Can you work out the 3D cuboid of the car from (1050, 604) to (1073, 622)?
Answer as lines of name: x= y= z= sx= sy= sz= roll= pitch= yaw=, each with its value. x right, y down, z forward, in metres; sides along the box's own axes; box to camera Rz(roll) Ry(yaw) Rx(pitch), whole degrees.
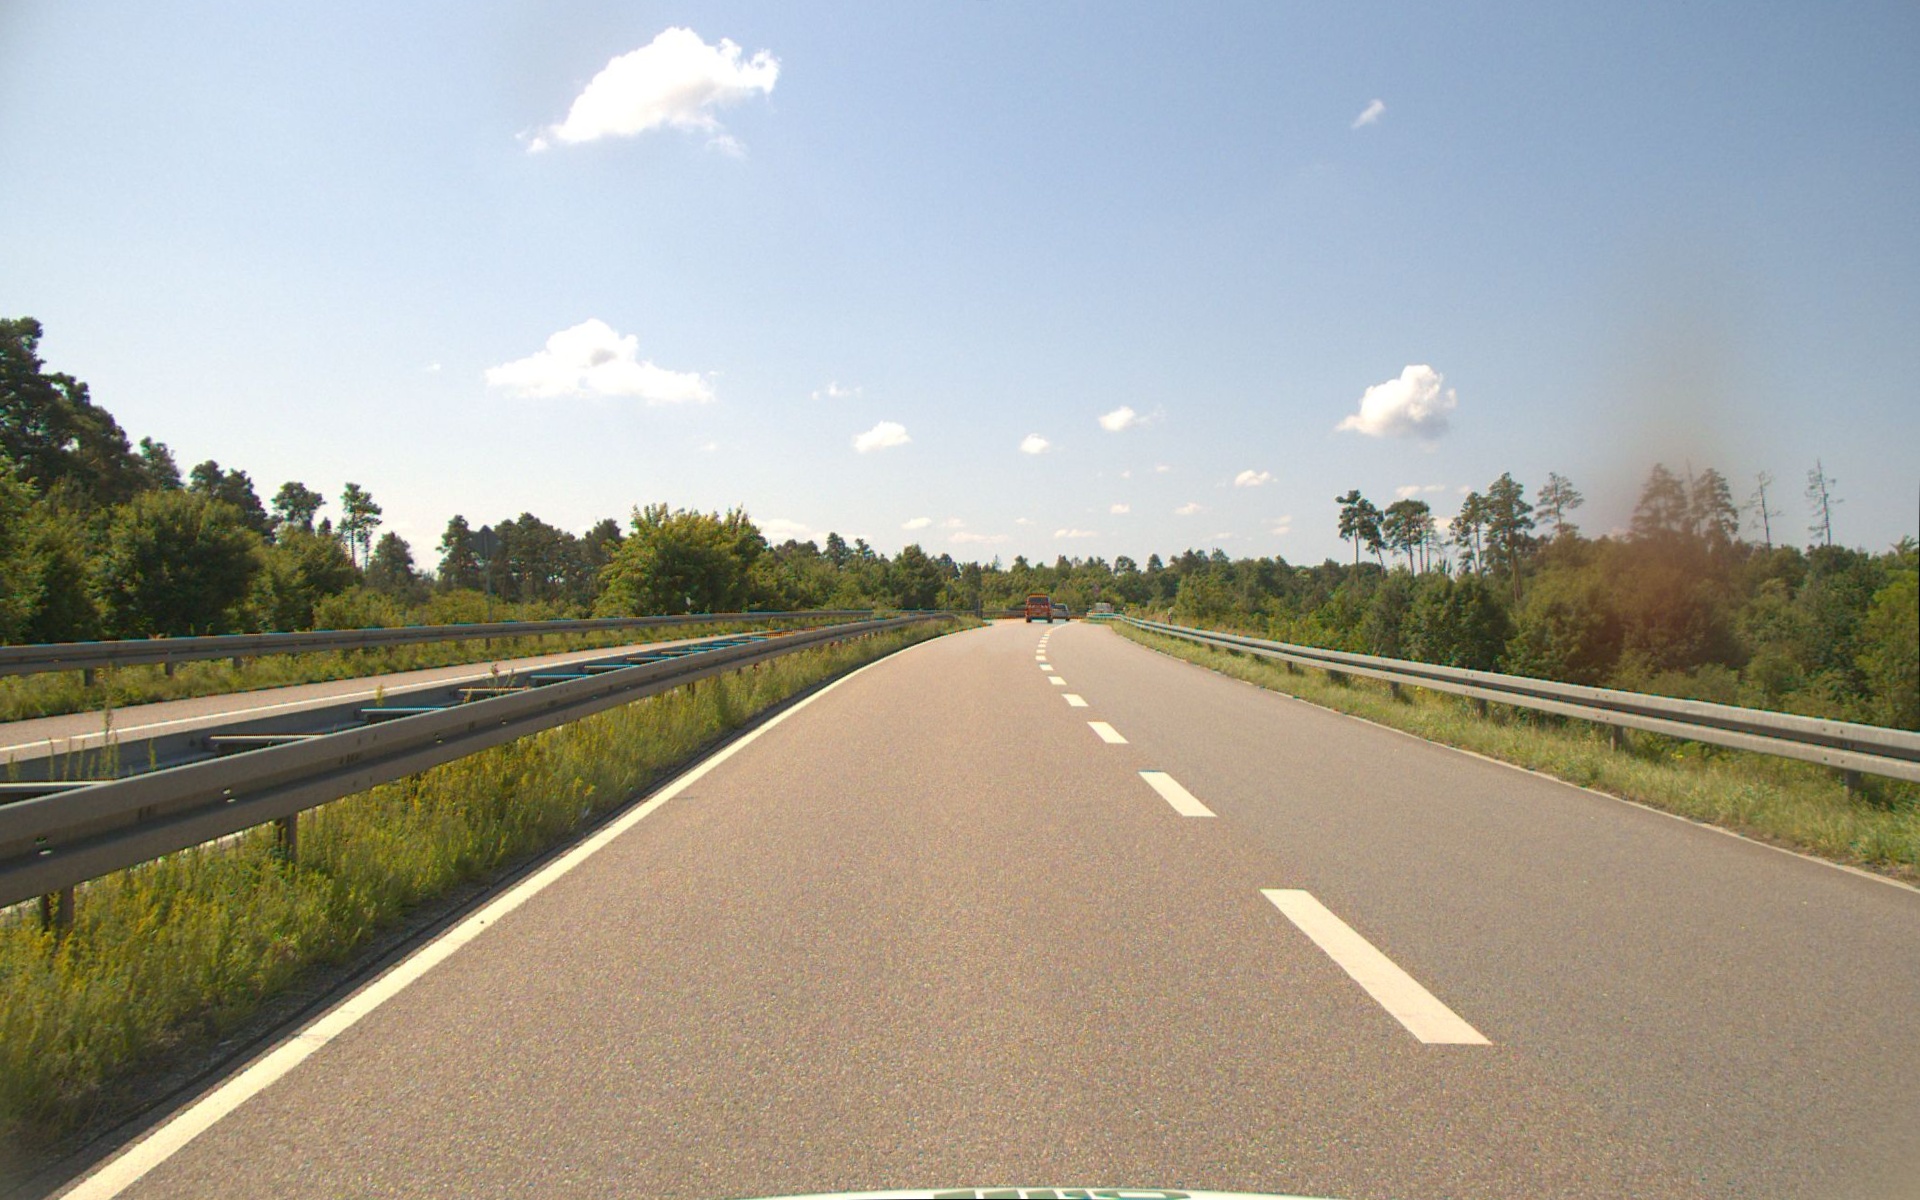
car: x=8.887 y=1.124 z=144.552 sx=1.965 sy=1.520 sz=4.240 roll=1 pitch=-1 yaw=4

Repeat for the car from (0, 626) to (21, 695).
car: x=-20.962 y=1.293 z=33.296 sx=1.911 sy=1.438 sz=4.824 roll=0 pitch=0 yaw=-8

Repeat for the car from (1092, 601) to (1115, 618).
car: x=17.147 y=1.147 z=197.696 sx=2.138 sy=1.989 sz=5.808 roll=1 pitch=-1 yaw=11

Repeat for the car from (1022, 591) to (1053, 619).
car: x=5.778 y=0.394 z=122.871 sx=2.033 sy=2.028 sz=5.114 roll=1 pitch=-1 yaw=5
